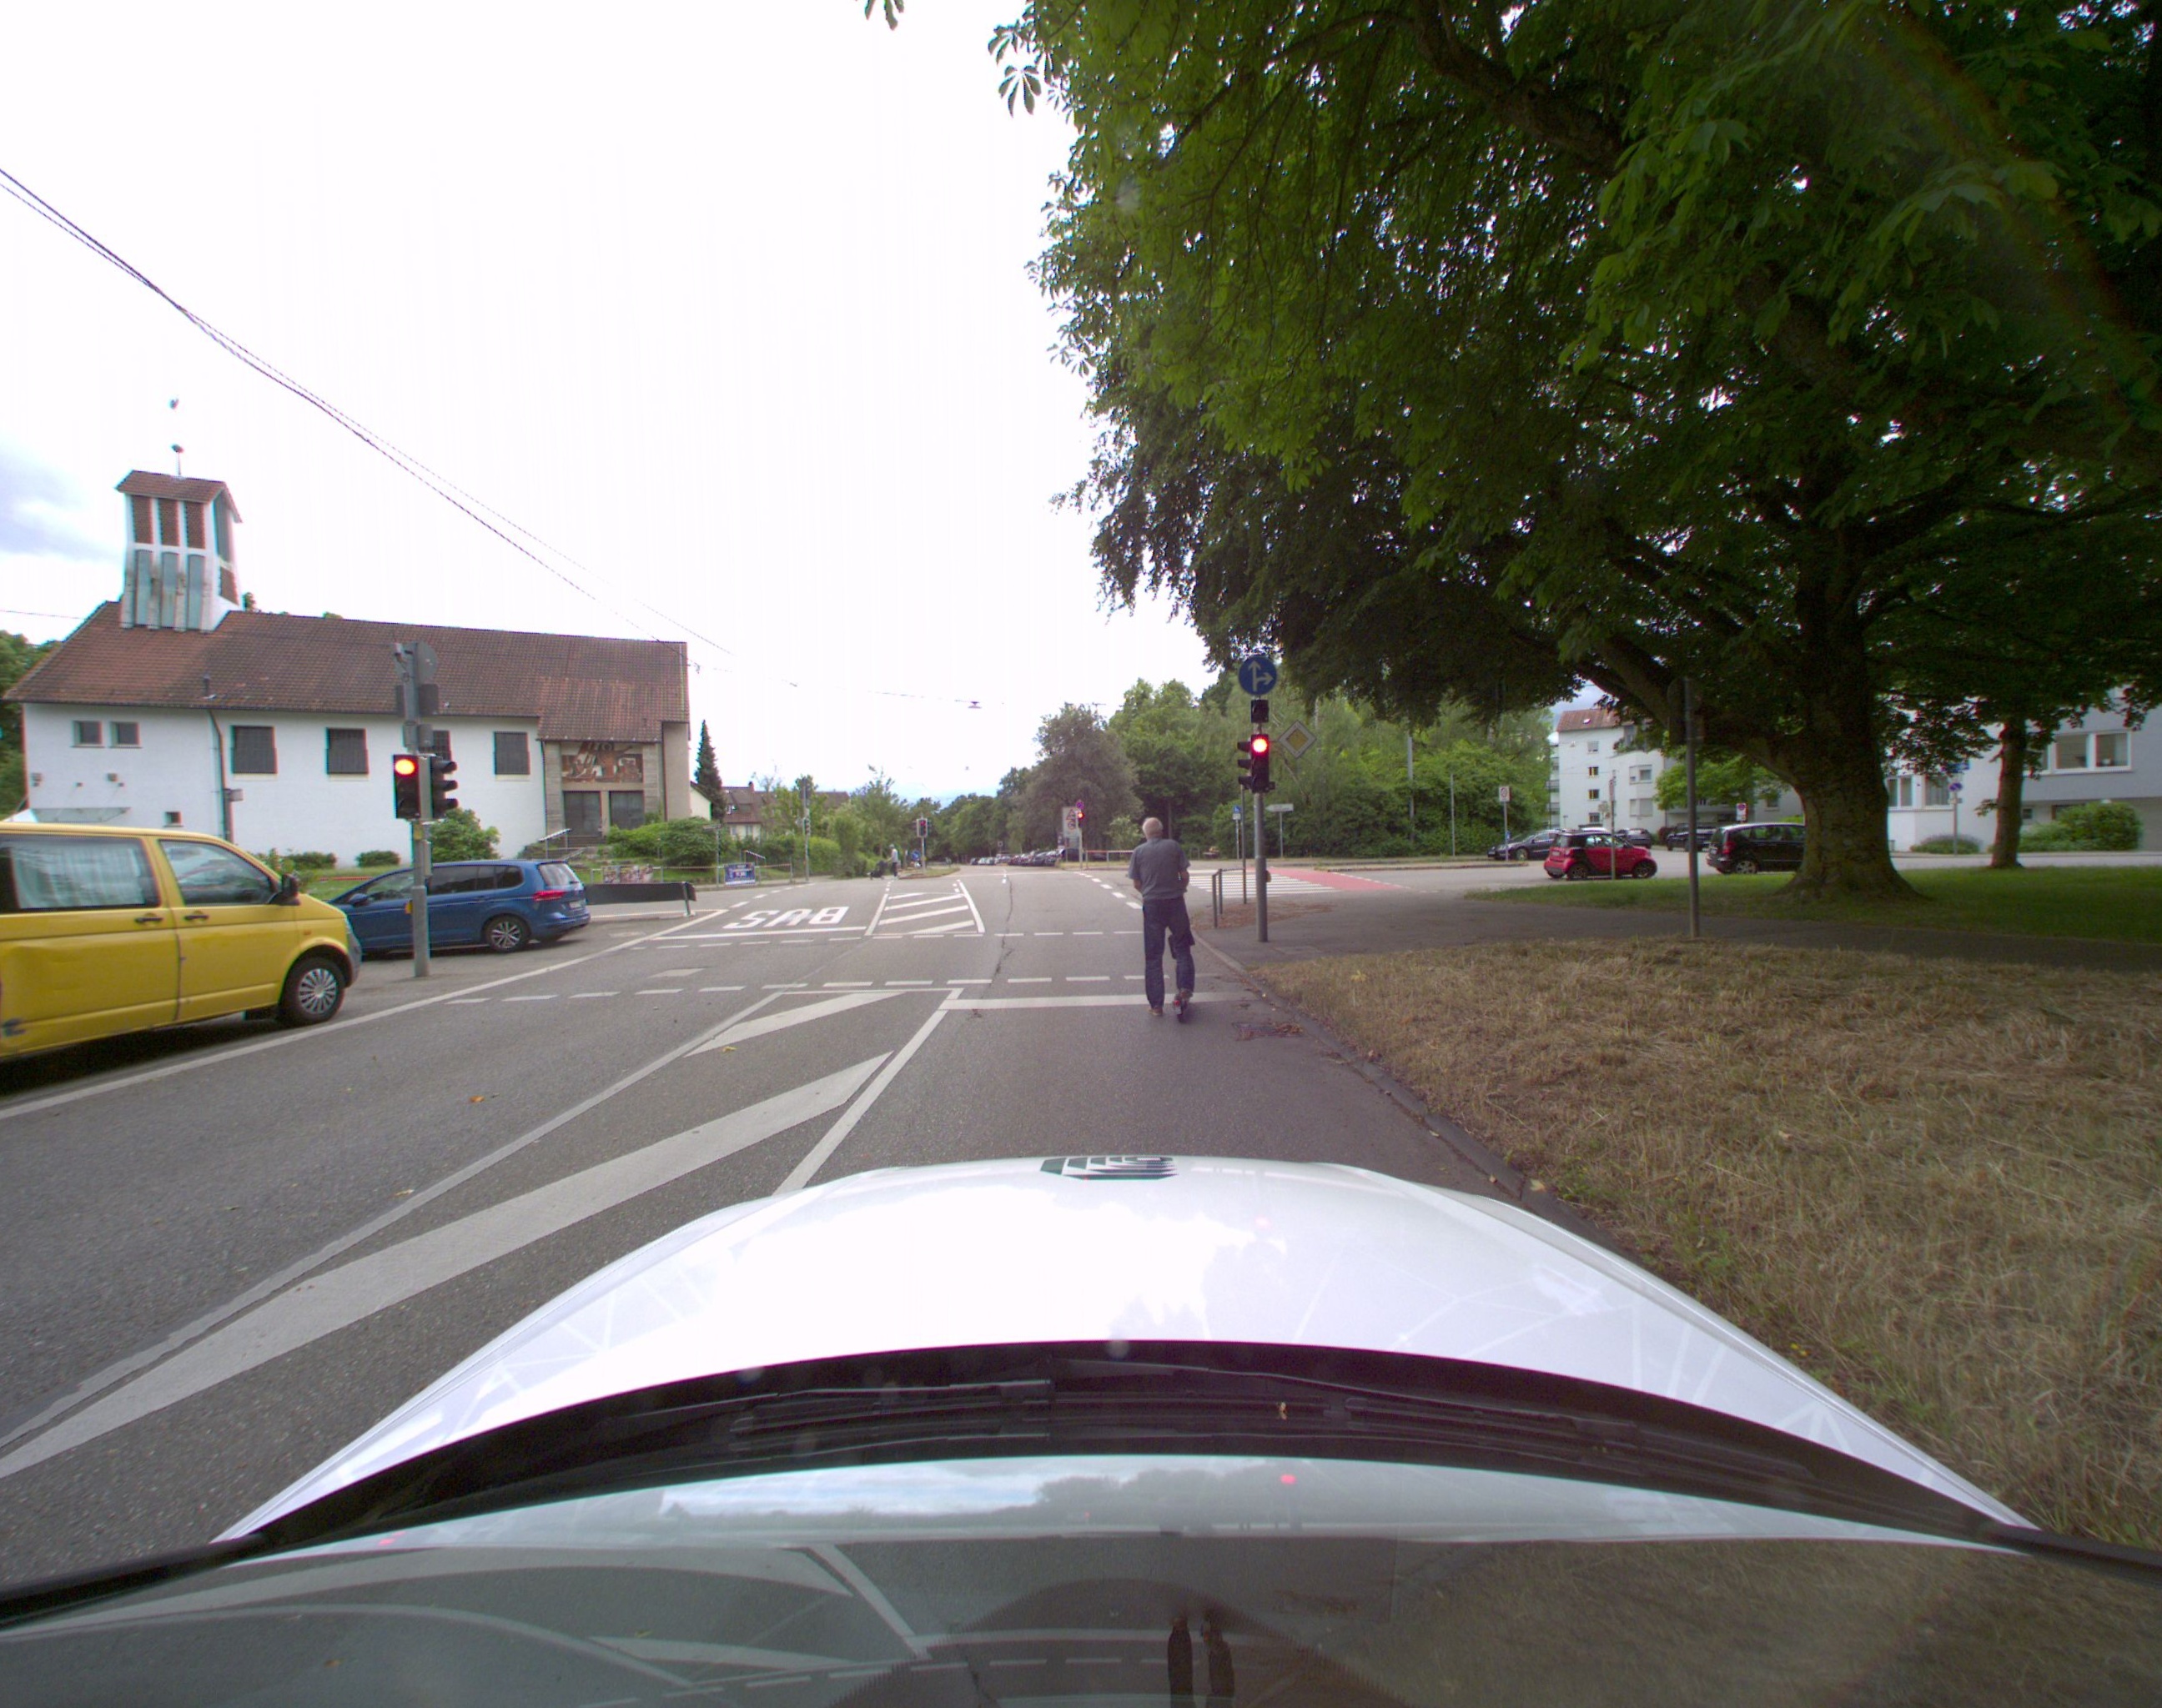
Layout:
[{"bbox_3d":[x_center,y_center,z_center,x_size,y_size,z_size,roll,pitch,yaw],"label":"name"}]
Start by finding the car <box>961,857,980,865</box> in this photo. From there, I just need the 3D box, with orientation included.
[{"bbox_3d":[-24.218,1.530,178.804,3.856,1.610,1.716,-3,0,-21],"label":"car"}]

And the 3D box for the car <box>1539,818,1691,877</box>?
[{"bbox_3d":[16.523,-0.207,25.351,3.499,1.610,1.732,-3,0,7],"label":"car"}]

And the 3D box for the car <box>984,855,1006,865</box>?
[{"bbox_3d":[-16.334,1.165,154.697,3.856,1.610,1.716,-3,0,-21],"label":"car"}]

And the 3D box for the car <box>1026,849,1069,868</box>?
[{"bbox_3d":[-3.274,0.470,79.561,3.856,1.610,1.716,-3,0,-21],"label":"car"}]

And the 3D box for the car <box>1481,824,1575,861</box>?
[{"bbox_3d":[21.110,-0.560,38.594,3.498,1.530,1.732,-3,0,8],"label":"car"}]

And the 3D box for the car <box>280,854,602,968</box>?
[{"bbox_3d":[-11.067,0.914,14.421,3.992,1.610,1.810,-3,0,-14],"label":"car"}]

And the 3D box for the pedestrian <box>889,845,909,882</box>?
[{"bbox_3d":[-9.187,0.471,41.158,0.883,1.862,0.573,-2,0,-6],"label":"pedestrian"}]

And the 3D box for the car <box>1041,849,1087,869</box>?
[{"bbox_3d":[-1.578,0.432,75.005,3.854,1.610,1.717,-3,0,-19],"label":"car"}]

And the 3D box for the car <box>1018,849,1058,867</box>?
[{"bbox_3d":[-4.595,0.422,86.948,3.856,1.610,1.716,-3,0,-21],"label":"car"}]

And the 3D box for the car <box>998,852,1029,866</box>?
[{"bbox_3d":[-9.044,0.677,109.346,3.856,1.610,1.716,-3,0,-21],"label":"car"}]

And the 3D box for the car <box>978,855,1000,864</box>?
[{"bbox_3d":[-18.070,1.133,159.385,3.856,1.610,1.716,-3,0,-21],"label":"car"}]

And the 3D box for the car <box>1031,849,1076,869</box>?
[{"bbox_3d":[-2.587,0.460,77.001,3.857,1.610,1.715,-3,1,-22],"label":"car"}]

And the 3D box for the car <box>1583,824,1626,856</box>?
[{"bbox_3d":[28.786,-0.787,44.885,1.706,1.610,3.878,-3,1,30],"label":"car"}]

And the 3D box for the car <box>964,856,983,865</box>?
[{"bbox_3d":[-23.304,1.439,176.443,3.856,1.610,1.716,-3,0,-21],"label":"car"}]

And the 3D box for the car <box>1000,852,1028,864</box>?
[{"bbox_3d":[-10.116,0.629,122.350,3.856,1.610,1.716,-3,0,-21],"label":"car"}]

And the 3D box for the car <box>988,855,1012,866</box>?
[{"bbox_3d":[-14.319,1.137,143.336,3.856,1.610,1.716,-3,0,-21],"label":"car"}]

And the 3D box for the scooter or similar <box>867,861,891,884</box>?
[{"bbox_3d":[-10.153,0.923,41.003,1.107,1.081,0.576,-2,0,-9],"label":"scooter or similar"}]

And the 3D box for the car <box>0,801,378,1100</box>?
[{"bbox_3d":[-8.303,0.682,6.335,1.880,2.013,4.558,-2,0,-5],"label":"car"}]

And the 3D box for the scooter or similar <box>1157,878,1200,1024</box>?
[{"bbox_3d":[0.915,0.841,7.488,0.280,1.178,1.180,-2,0,10],"label":"scooter or similar"}]

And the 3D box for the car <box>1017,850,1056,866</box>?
[{"bbox_3d":[-4.927,0.428,89.370,3.856,1.610,1.716,-3,0,-21],"label":"car"}]

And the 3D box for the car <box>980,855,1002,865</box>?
[{"bbox_3d":[-17.312,1.128,156.856,3.856,1.610,1.716,-3,0,-21],"label":"car"}]

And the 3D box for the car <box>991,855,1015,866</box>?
[{"bbox_3d":[-13.380,1.129,139.635,3.856,1.610,1.716,-3,0,-21],"label":"car"}]

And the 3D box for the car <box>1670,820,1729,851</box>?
[{"bbox_3d":[35.569,-1.067,46.918,1.707,1.610,3.875,-3,1,22],"label":"car"}]

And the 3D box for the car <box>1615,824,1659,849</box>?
[{"bbox_3d":[38.957,-1.275,57.128,1.707,1.610,3.875,-3,1,22],"label":"car"}]

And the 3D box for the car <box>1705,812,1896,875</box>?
[{"bbox_3d":[20.830,-0.295,23.793,3.805,1.610,1.739,-3,1,27],"label":"car"}]

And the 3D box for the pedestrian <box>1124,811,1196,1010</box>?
[{"bbox_3d":[0.751,0.520,7.669,0.569,1.813,0.421,-2,0,10],"label":"pedestrian"}]
